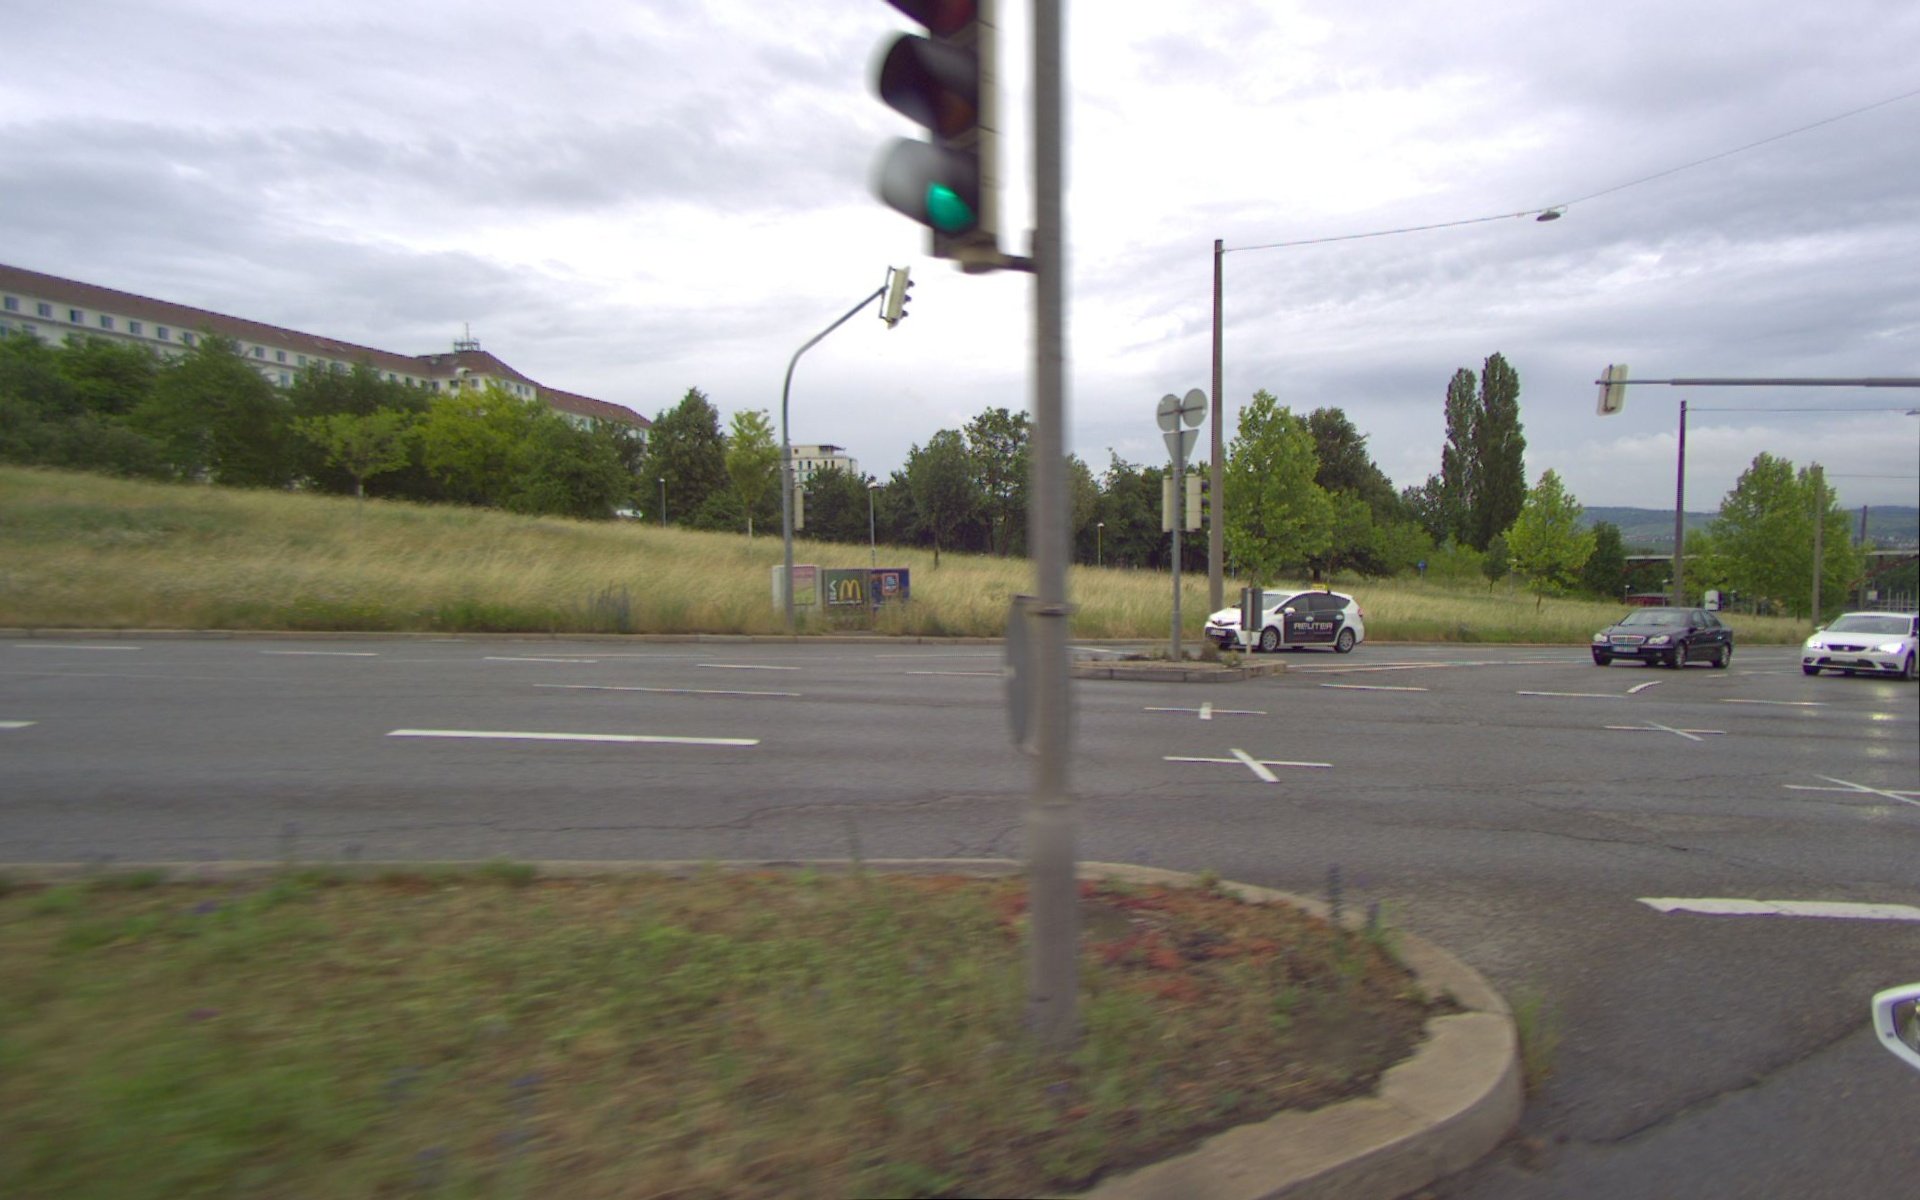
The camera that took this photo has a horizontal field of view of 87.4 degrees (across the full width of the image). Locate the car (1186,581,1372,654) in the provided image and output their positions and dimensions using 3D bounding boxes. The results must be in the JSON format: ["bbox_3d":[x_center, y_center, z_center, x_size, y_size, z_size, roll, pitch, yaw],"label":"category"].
[{"bbox_3d":[8.244,0.454,25.896,4.620,1.632,1.877,3,1,-29],"label":"car"}]

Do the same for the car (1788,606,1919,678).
[{"bbox_3d":[20.184,0.939,22.320,3.961,1.391,1.726,3,1,-35],"label":"car"}]

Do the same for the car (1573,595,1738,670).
[{"bbox_3d":[16.445,0.779,23.708,3.960,1.557,1.883,3,1,-35],"label":"car"}]

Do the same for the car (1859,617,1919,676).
[{"bbox_3d":[25.528,1.203,26.306,3.955,1.342,1.885,0,3,-32],"label":"car"}]
